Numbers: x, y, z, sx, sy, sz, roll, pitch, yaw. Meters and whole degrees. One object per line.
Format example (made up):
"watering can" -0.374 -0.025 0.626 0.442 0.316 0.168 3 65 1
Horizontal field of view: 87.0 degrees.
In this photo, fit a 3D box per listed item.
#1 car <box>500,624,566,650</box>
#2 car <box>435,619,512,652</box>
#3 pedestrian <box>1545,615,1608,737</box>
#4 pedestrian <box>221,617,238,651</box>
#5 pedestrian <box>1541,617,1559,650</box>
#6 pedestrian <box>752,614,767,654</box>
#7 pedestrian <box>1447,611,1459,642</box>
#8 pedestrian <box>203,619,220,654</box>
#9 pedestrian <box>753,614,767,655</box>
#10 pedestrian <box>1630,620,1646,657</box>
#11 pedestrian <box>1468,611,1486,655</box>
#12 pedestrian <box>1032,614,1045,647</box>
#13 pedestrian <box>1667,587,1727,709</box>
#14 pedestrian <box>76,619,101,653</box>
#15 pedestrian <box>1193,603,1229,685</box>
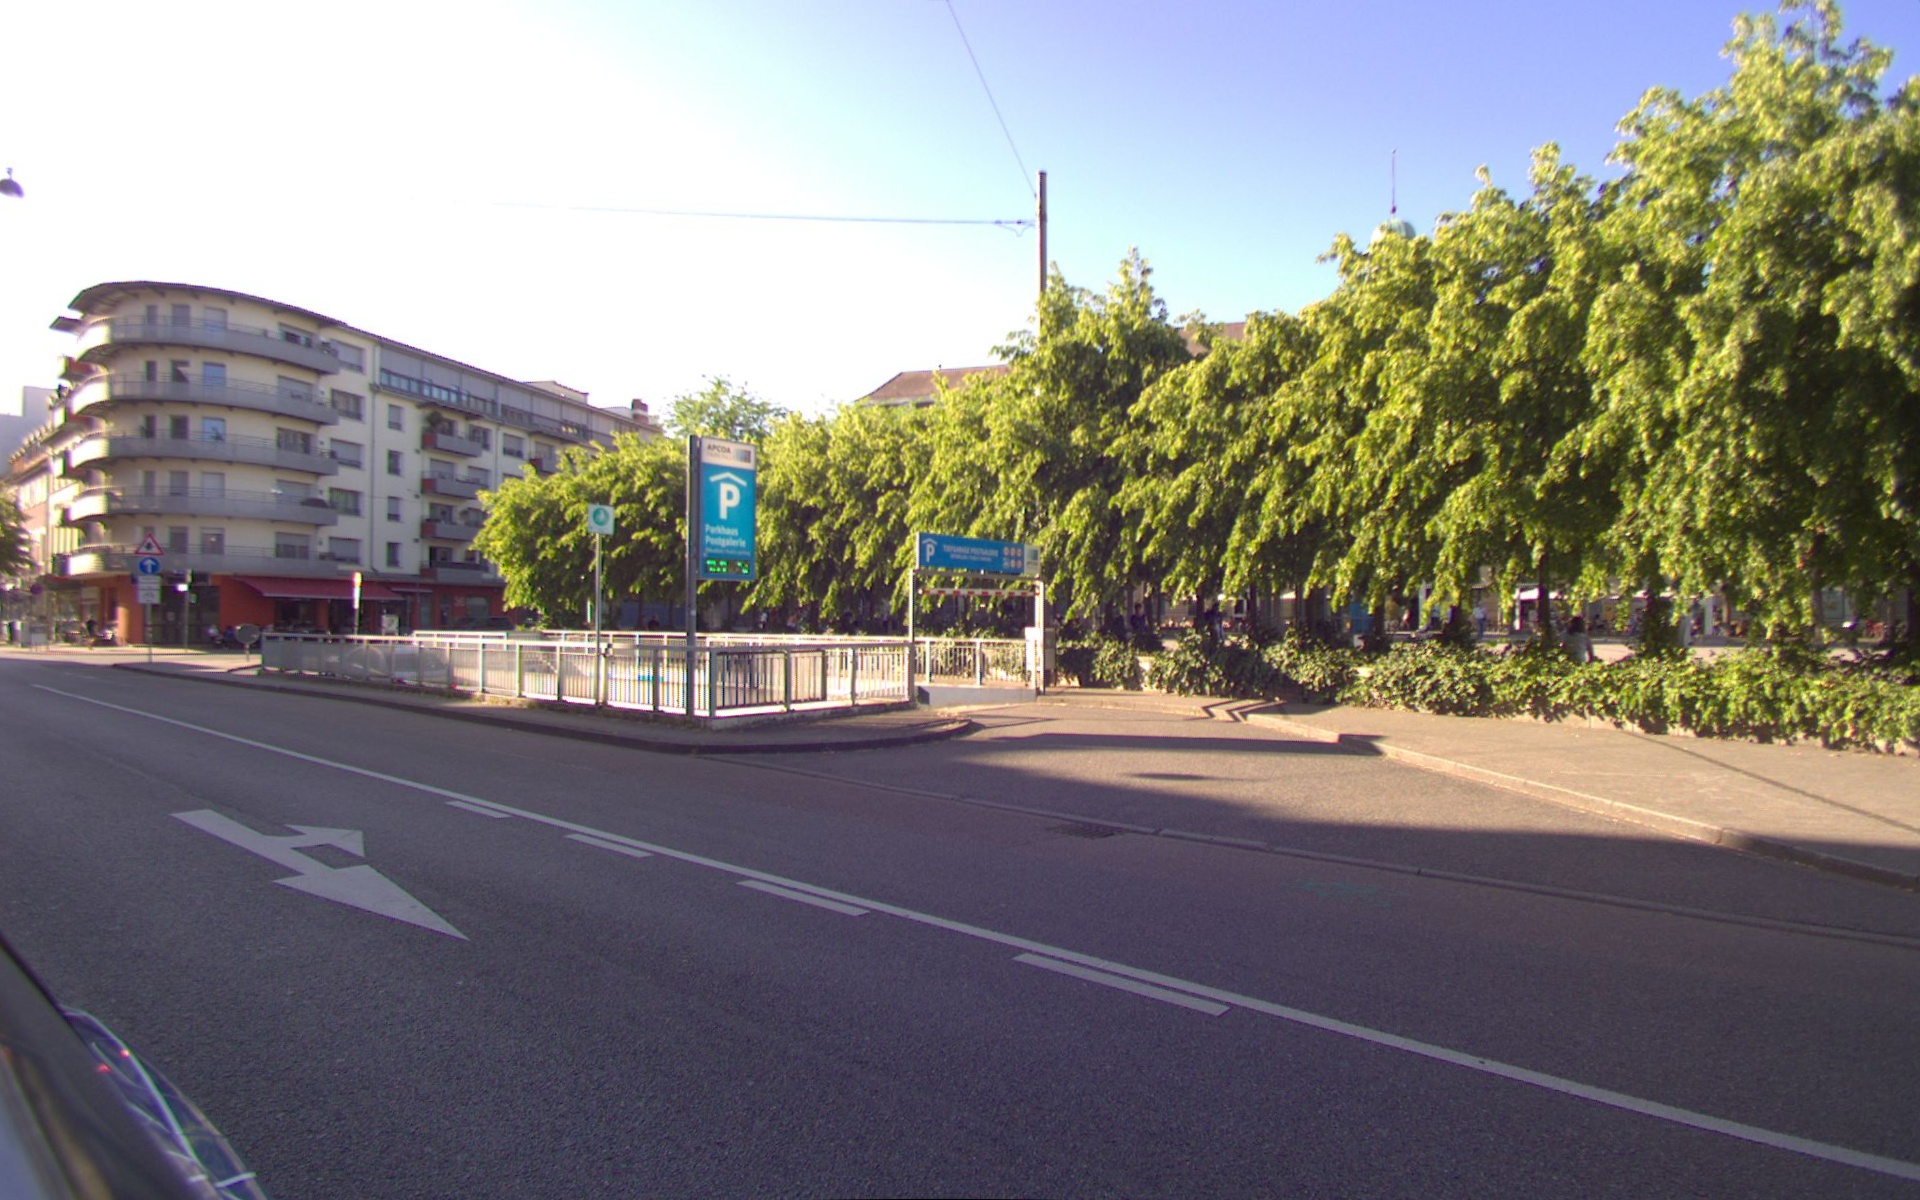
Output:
"car" -28.894 2.480 68.613 1.938 1.633 4.272 -1 -1 16
"car" -30.431 2.205 63.465 1.938 1.927 4.403 -1 -1 16
"pedestrian" 9.743 1.175 15.996 0.732 1.870 0.574 -1 -1 44
"pedestrian" -36.772 1.699 50.943 0.642 1.721 0.568 -2 -2 43
"pedestrian" 32.546 1.837 55.821 0.593 1.806 0.583 -1 0 0
"pedestrian" -9.245 1.563 46.659 0.574 1.806 0.602 0 0 -5
"pedestrian" 29.218 1.545 59.934 0.598 1.806 0.577 -1 0 27
"pedestrian" -37.395 1.800 50.558 0.642 1.721 0.568 -2 -2 43
"pedestrian" -9.077 1.558 45.942 0.574 1.806 0.602 0 0 -5
"pedestrian" 34.024 1.928 50.803 0.580 1.806 0.596 -1 0 27
"pedestrian" 21.343 1.343 41.768 0.599 1.806 0.576 -1 -1 31
"pedestrian" 4.357 1.671 56.048 0.578 1.806 0.597 -1 0 20
"pedestrian" 11.541 0.733 15.864 0.597 1.870 0.578 -1 0 22
"pedestrian" -42.012 1.725 48.798 0.695 1.627 0.765 -1 -1 37
"pedestrian" 5.869 1.017 23.660 0.674 1.870 0.577 -1 -1 30
